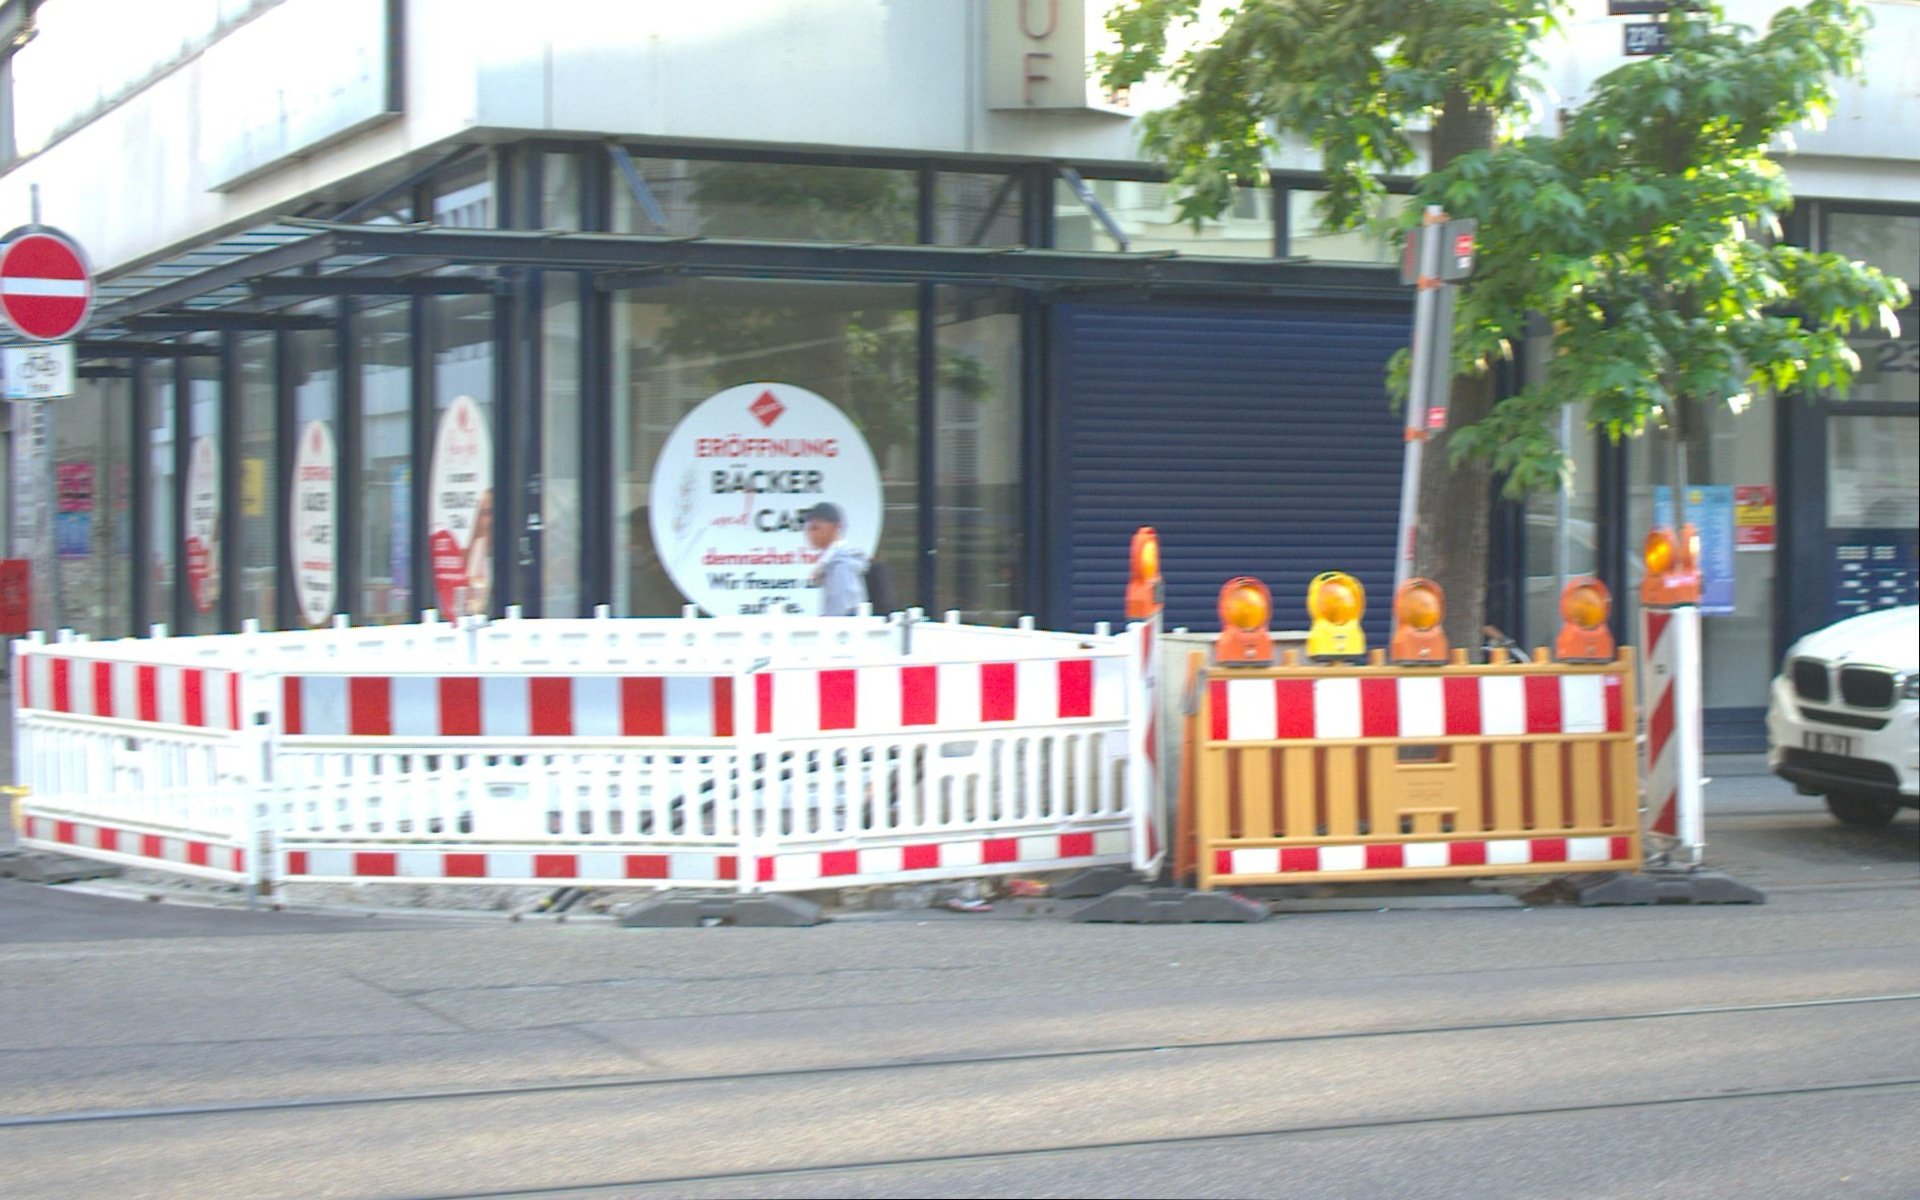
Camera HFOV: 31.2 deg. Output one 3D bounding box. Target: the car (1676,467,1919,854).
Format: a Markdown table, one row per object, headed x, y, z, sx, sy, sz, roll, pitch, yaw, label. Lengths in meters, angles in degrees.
| x | y | z | sx | sy | sz | roll | pitch | yaw | label |
| --- | --- | --- | --- | --- | --- | --- | --- | --- | --- |
| 6.423 | 0.244 | 17.970 | 4.929 | 1.769 | 2.023 | 0 | 3 | -23 | car |

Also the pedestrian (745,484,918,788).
| x | y | z | sx | sy | sz | roll | pitch | yaw | label |
| --- | --- | --- | --- | --- | --- | --- | --- | --- | --- |
| -0.674 | 0.173 | 18.011 | 0.705 | 1.544 | 0.579 | -2 | 2 | -26 | pedestrian |
